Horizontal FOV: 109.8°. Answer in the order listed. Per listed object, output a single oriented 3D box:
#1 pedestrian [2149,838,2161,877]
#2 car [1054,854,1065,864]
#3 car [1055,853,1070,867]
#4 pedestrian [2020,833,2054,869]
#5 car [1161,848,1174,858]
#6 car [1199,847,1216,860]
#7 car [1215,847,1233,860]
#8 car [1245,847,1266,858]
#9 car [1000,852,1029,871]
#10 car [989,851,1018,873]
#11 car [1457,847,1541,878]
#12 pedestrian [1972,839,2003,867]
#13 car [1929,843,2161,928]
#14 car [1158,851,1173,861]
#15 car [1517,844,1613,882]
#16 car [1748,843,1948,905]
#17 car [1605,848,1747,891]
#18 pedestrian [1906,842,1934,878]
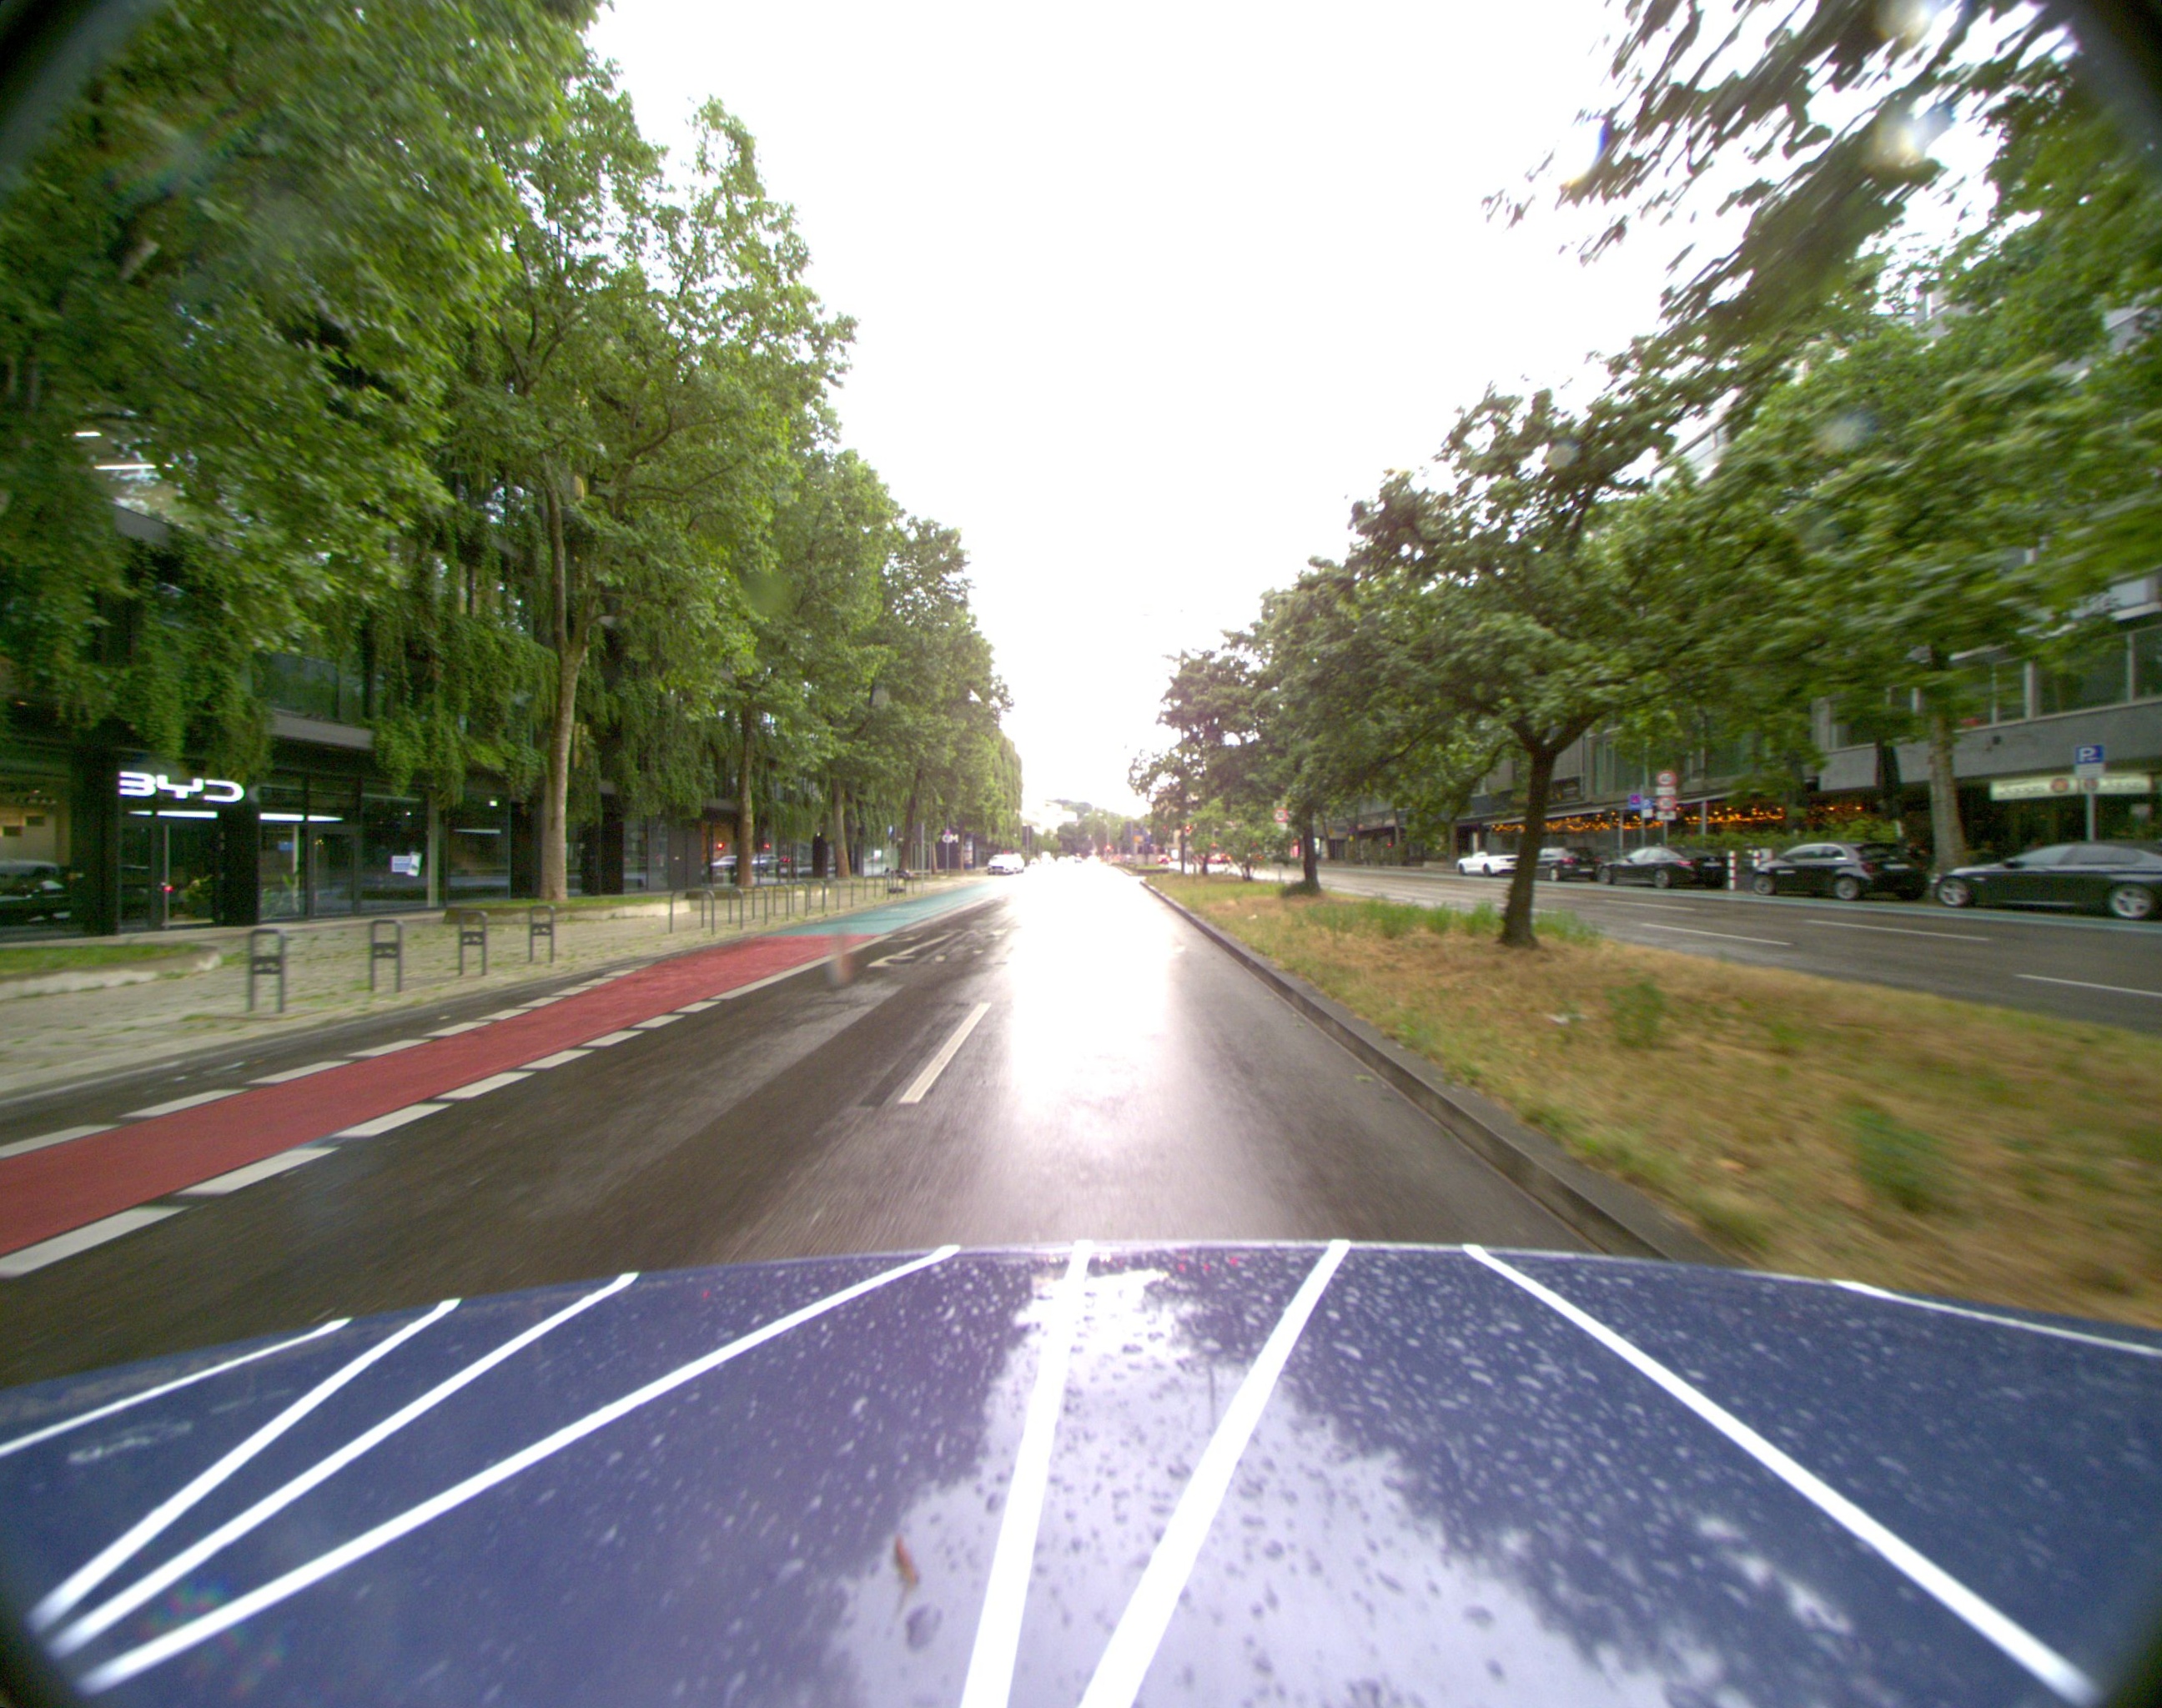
[{"bbox_3d":[27.584,0.085,19.250,0.459,0.987,0.463,-3,2,-14],"label":"pedestrian"},{"bbox_3d":[-3.357,0.758,120.925,1.556,1.534,3.663,-2,1,1],"label":"car"},{"bbox_3d":[-2.325,0.705,96.166,1.780,1.546,3.929,-2,1,1],"label":"car"},{"bbox_3d":[27.729,-0.079,22.039,0.464,1.010,0.424,-2,2,-1],"label":"pedestrian"},{"bbox_3d":[17.369,-0.147,152.535,1.998,1.805,3.999,-2,1,0],"label":"car"},{"bbox_3d":[18.840,-0.018,112.895,1.938,1.776,3.954,-2,1,2],"label":"car"},{"bbox_3d":[19.457,-0.076,103.572,1.780,1.565,3.728,-2,1,0],"label":"car"},{"bbox_3d":[22.036,-0.207,96.013,1.765,1.318,3.738,-2,1,2],"label":"car"},{"bbox_3d":[-6.177,0.694,71.167,2.036,1.553,4.584,-2,1,2],"label":"car"},{"bbox_3d":[-6.593,0.658,65.183,1.932,1.726,4.598,-2,1,0],"label":"car"},{"bbox_3d":[20.704,0.370,37.855,1.881,1.318,4.392,-2,1,2],"label":"car"},{"bbox_3d":[27.915,-0.039,23.406,0.440,0.845,0.433,-2,2,-1],"label":"pedestrian"},{"bbox_3d":[19.869,0.523,14.786,1.875,1.377,4.537,-2,1,5],"label":"car"},{"bbox_3d":[12.548,0.310,113.070,1.678,1.381,3.527,-2,1,-2],"label":"car"},{"bbox_3d":[20.415,0.345,32.230,1.750,1.445,3.788,-2,1,2],"label":"car"},{"bbox_3d":[19.994,0.453,20.019,1.875,1.414,3.400,-2,1,2],"label":"car"},{"bbox_3d":[20.187,0.465,26.049,1.647,1.232,4.318,-2,1,3],"label":"car"},{"bbox_3d":[27.717,0.192,25.102,0.466,1.179,0.446,-2,2,20],"label":"pedestrian"}]
